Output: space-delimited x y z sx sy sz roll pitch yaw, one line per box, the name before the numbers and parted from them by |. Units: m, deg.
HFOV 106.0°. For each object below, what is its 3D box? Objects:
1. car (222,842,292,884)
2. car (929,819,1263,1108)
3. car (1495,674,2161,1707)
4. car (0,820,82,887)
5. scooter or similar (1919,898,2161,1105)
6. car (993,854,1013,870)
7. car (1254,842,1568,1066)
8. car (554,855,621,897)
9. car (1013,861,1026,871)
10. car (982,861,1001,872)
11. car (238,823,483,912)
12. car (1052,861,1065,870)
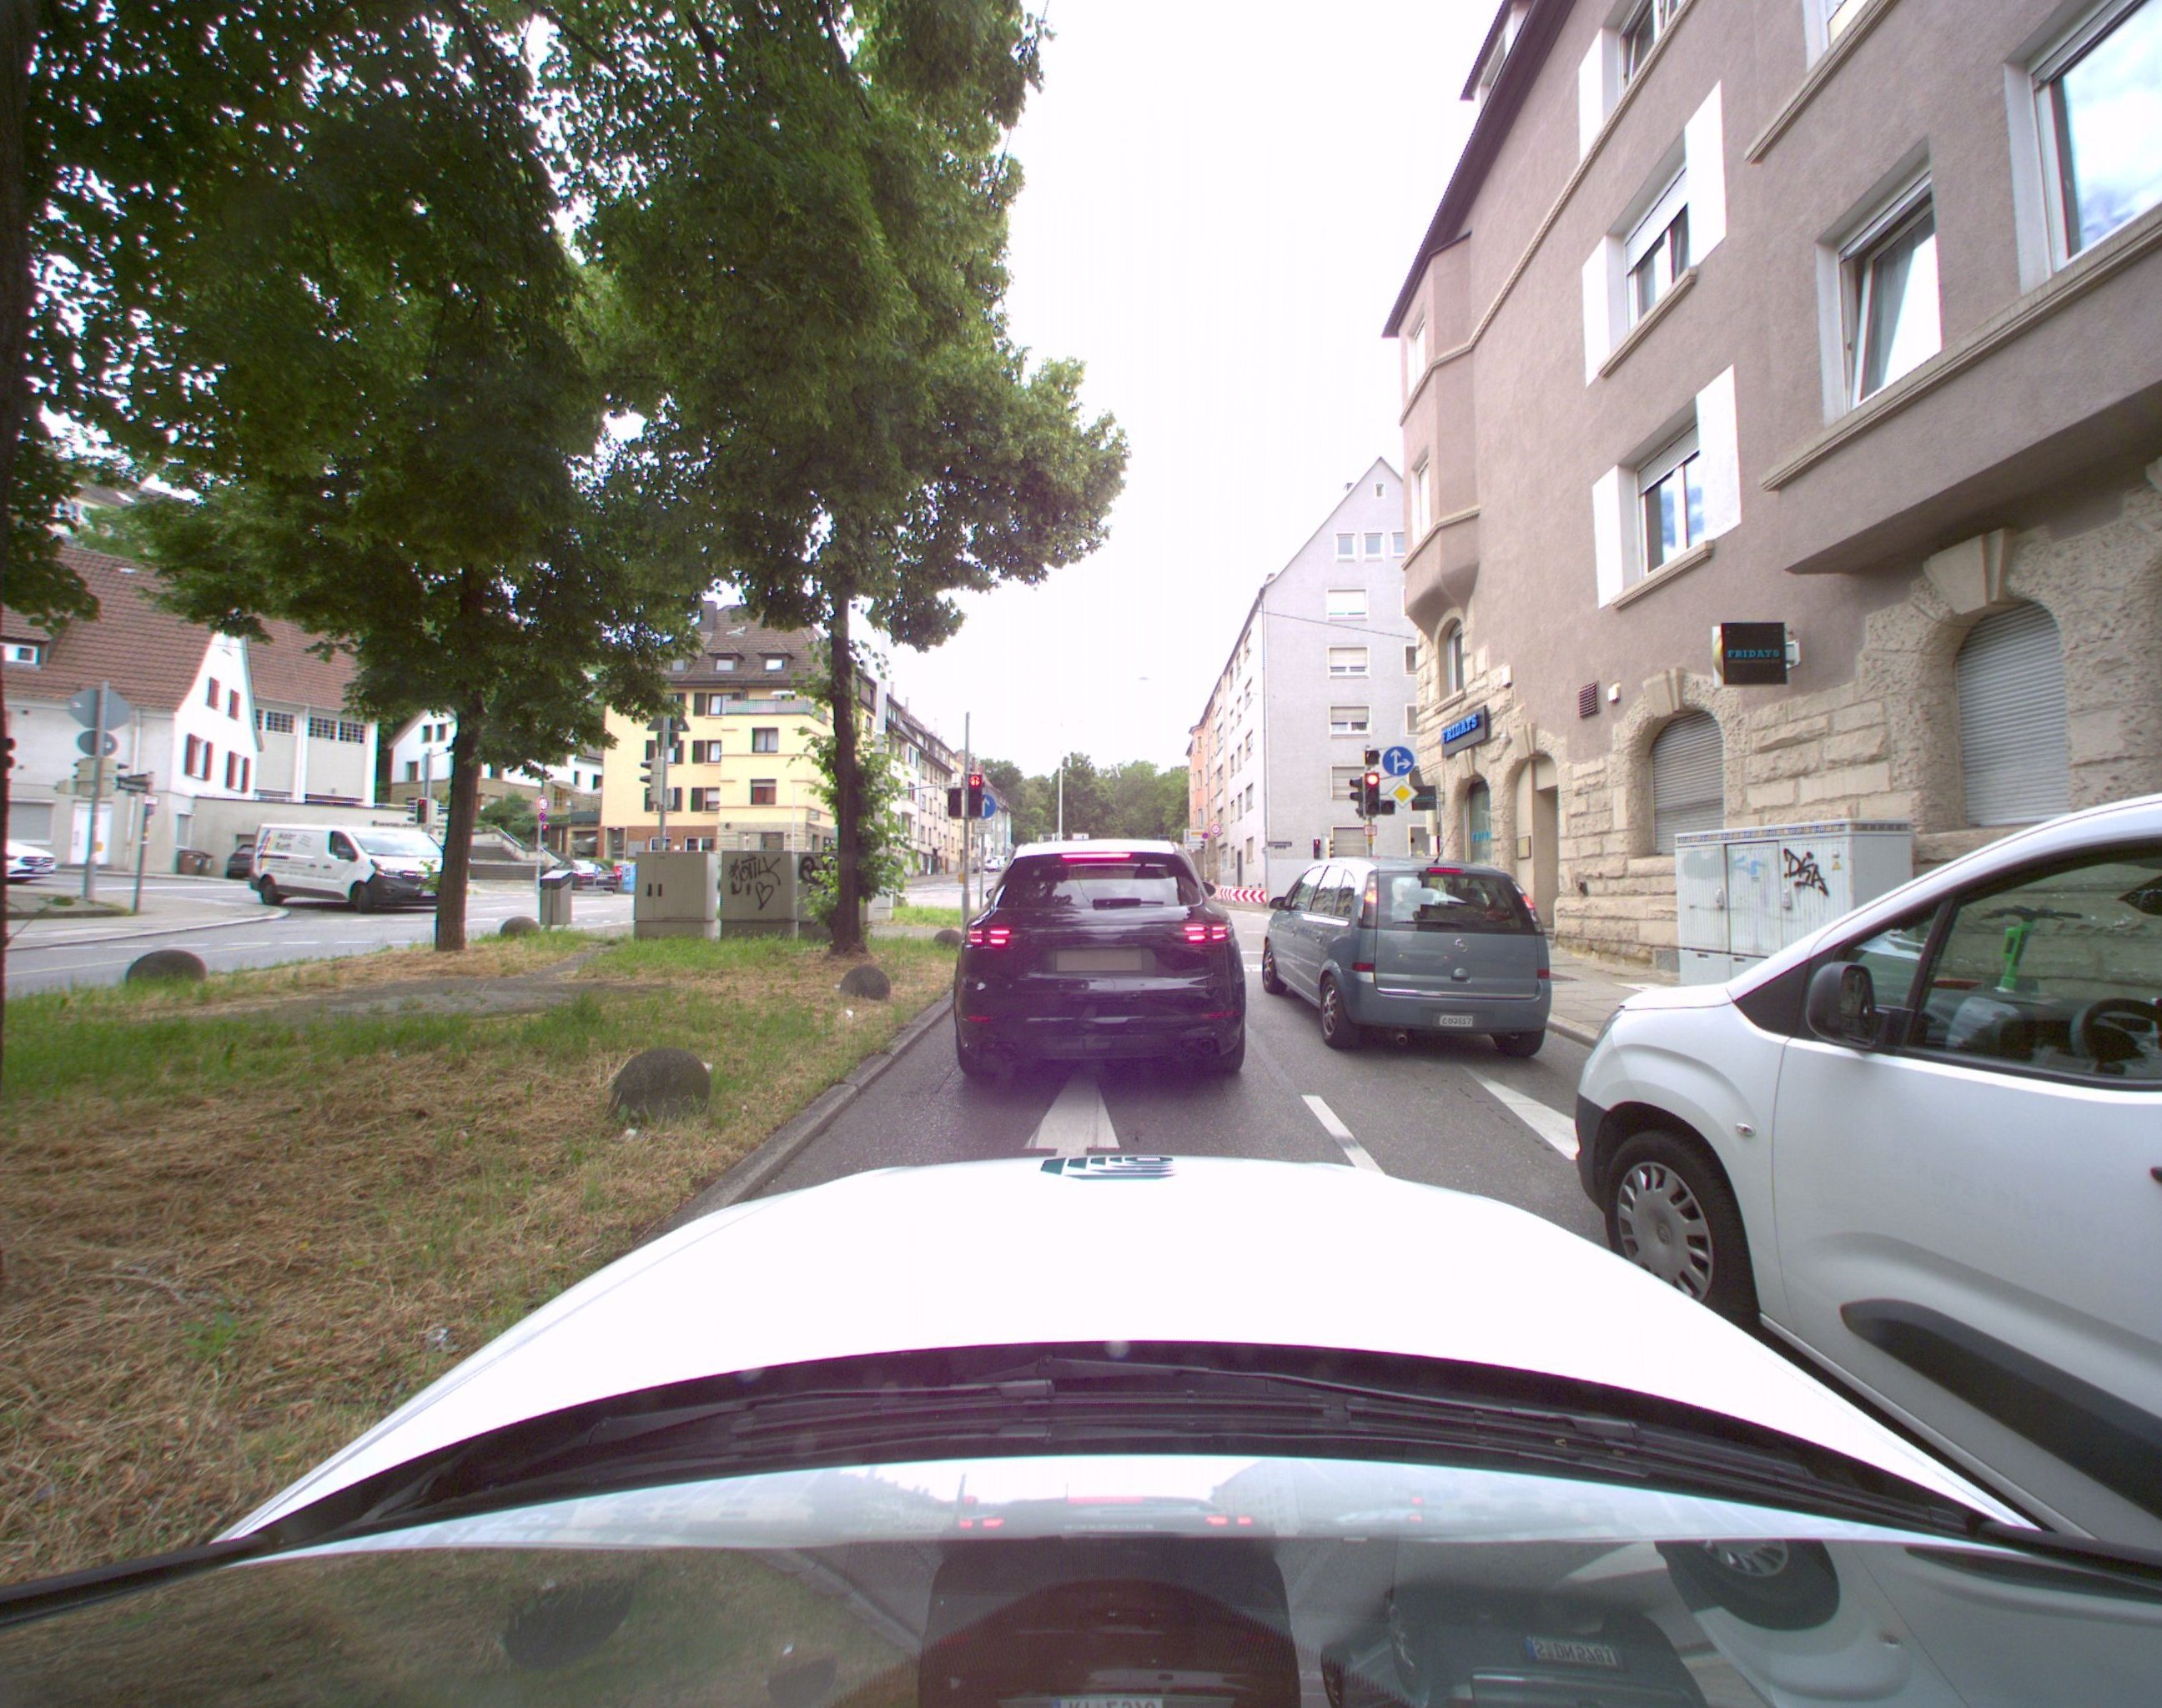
car | -32.203 0.352 31.809 3.019 1.405 1.681 2 -4 42
car | 0.149 0.665 6.831 1.948 1.674 4.001 -1 -1 2
car | 2.804 0.624 1.208 1.969 1.775 4.676 3 0 0
car | -27.821 -0.060 19.728 4.261 1.594 1.681 2 -1 -17
scooter or similar | 6.428 0.872 5.306 0.524 1.104 1.424 -1 -1 4
car | -10.058 1.027 105.069 2.008 2.045 4.669 0 -1 2
car | 2.856 0.762 7.931 1.622 1.598 3.670 3 0 2
car | -23.569 1.016 38.837 3.477 1.596 1.881 7 4 44
car | -9.459 1.874 125.361 1.682 1.538 3.815 0 -1 2
car | -10.912 1.493 99.308 1.732 1.387 3.815 0 -1 2
car | -17.285 0.285 19.565 5.247 1.945 2.009 0 0 18
car | -3.759 1.918 134.186 1.854 1.388 4.096 0 0 2
